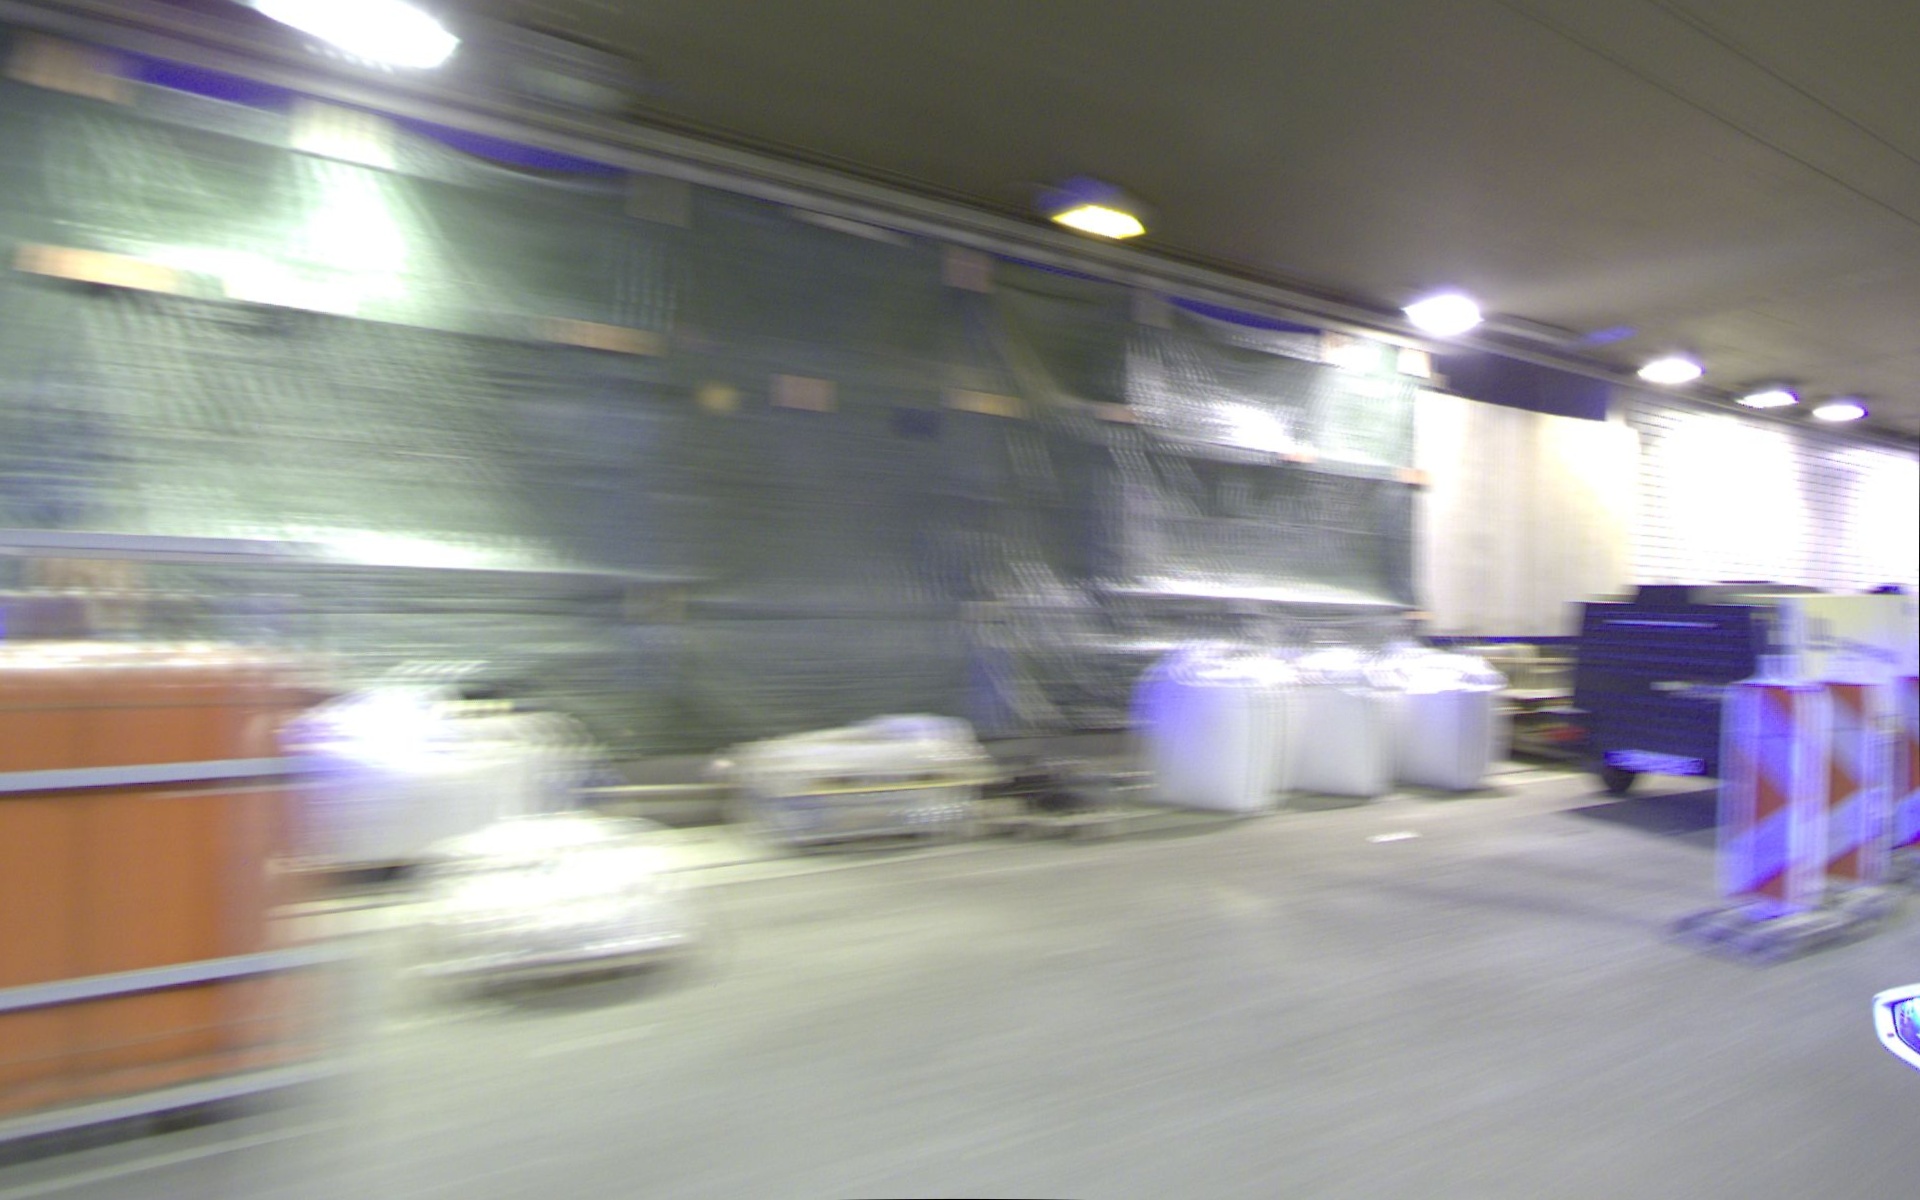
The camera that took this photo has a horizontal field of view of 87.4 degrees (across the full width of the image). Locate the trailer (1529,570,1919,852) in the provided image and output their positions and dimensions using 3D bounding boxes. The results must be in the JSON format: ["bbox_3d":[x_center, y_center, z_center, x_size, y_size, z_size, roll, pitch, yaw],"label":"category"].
[{"bbox_3d":[6.103,0.744,7.907,2.905,1.822,1.573,2,0,-31],"label":"trailer"}]
